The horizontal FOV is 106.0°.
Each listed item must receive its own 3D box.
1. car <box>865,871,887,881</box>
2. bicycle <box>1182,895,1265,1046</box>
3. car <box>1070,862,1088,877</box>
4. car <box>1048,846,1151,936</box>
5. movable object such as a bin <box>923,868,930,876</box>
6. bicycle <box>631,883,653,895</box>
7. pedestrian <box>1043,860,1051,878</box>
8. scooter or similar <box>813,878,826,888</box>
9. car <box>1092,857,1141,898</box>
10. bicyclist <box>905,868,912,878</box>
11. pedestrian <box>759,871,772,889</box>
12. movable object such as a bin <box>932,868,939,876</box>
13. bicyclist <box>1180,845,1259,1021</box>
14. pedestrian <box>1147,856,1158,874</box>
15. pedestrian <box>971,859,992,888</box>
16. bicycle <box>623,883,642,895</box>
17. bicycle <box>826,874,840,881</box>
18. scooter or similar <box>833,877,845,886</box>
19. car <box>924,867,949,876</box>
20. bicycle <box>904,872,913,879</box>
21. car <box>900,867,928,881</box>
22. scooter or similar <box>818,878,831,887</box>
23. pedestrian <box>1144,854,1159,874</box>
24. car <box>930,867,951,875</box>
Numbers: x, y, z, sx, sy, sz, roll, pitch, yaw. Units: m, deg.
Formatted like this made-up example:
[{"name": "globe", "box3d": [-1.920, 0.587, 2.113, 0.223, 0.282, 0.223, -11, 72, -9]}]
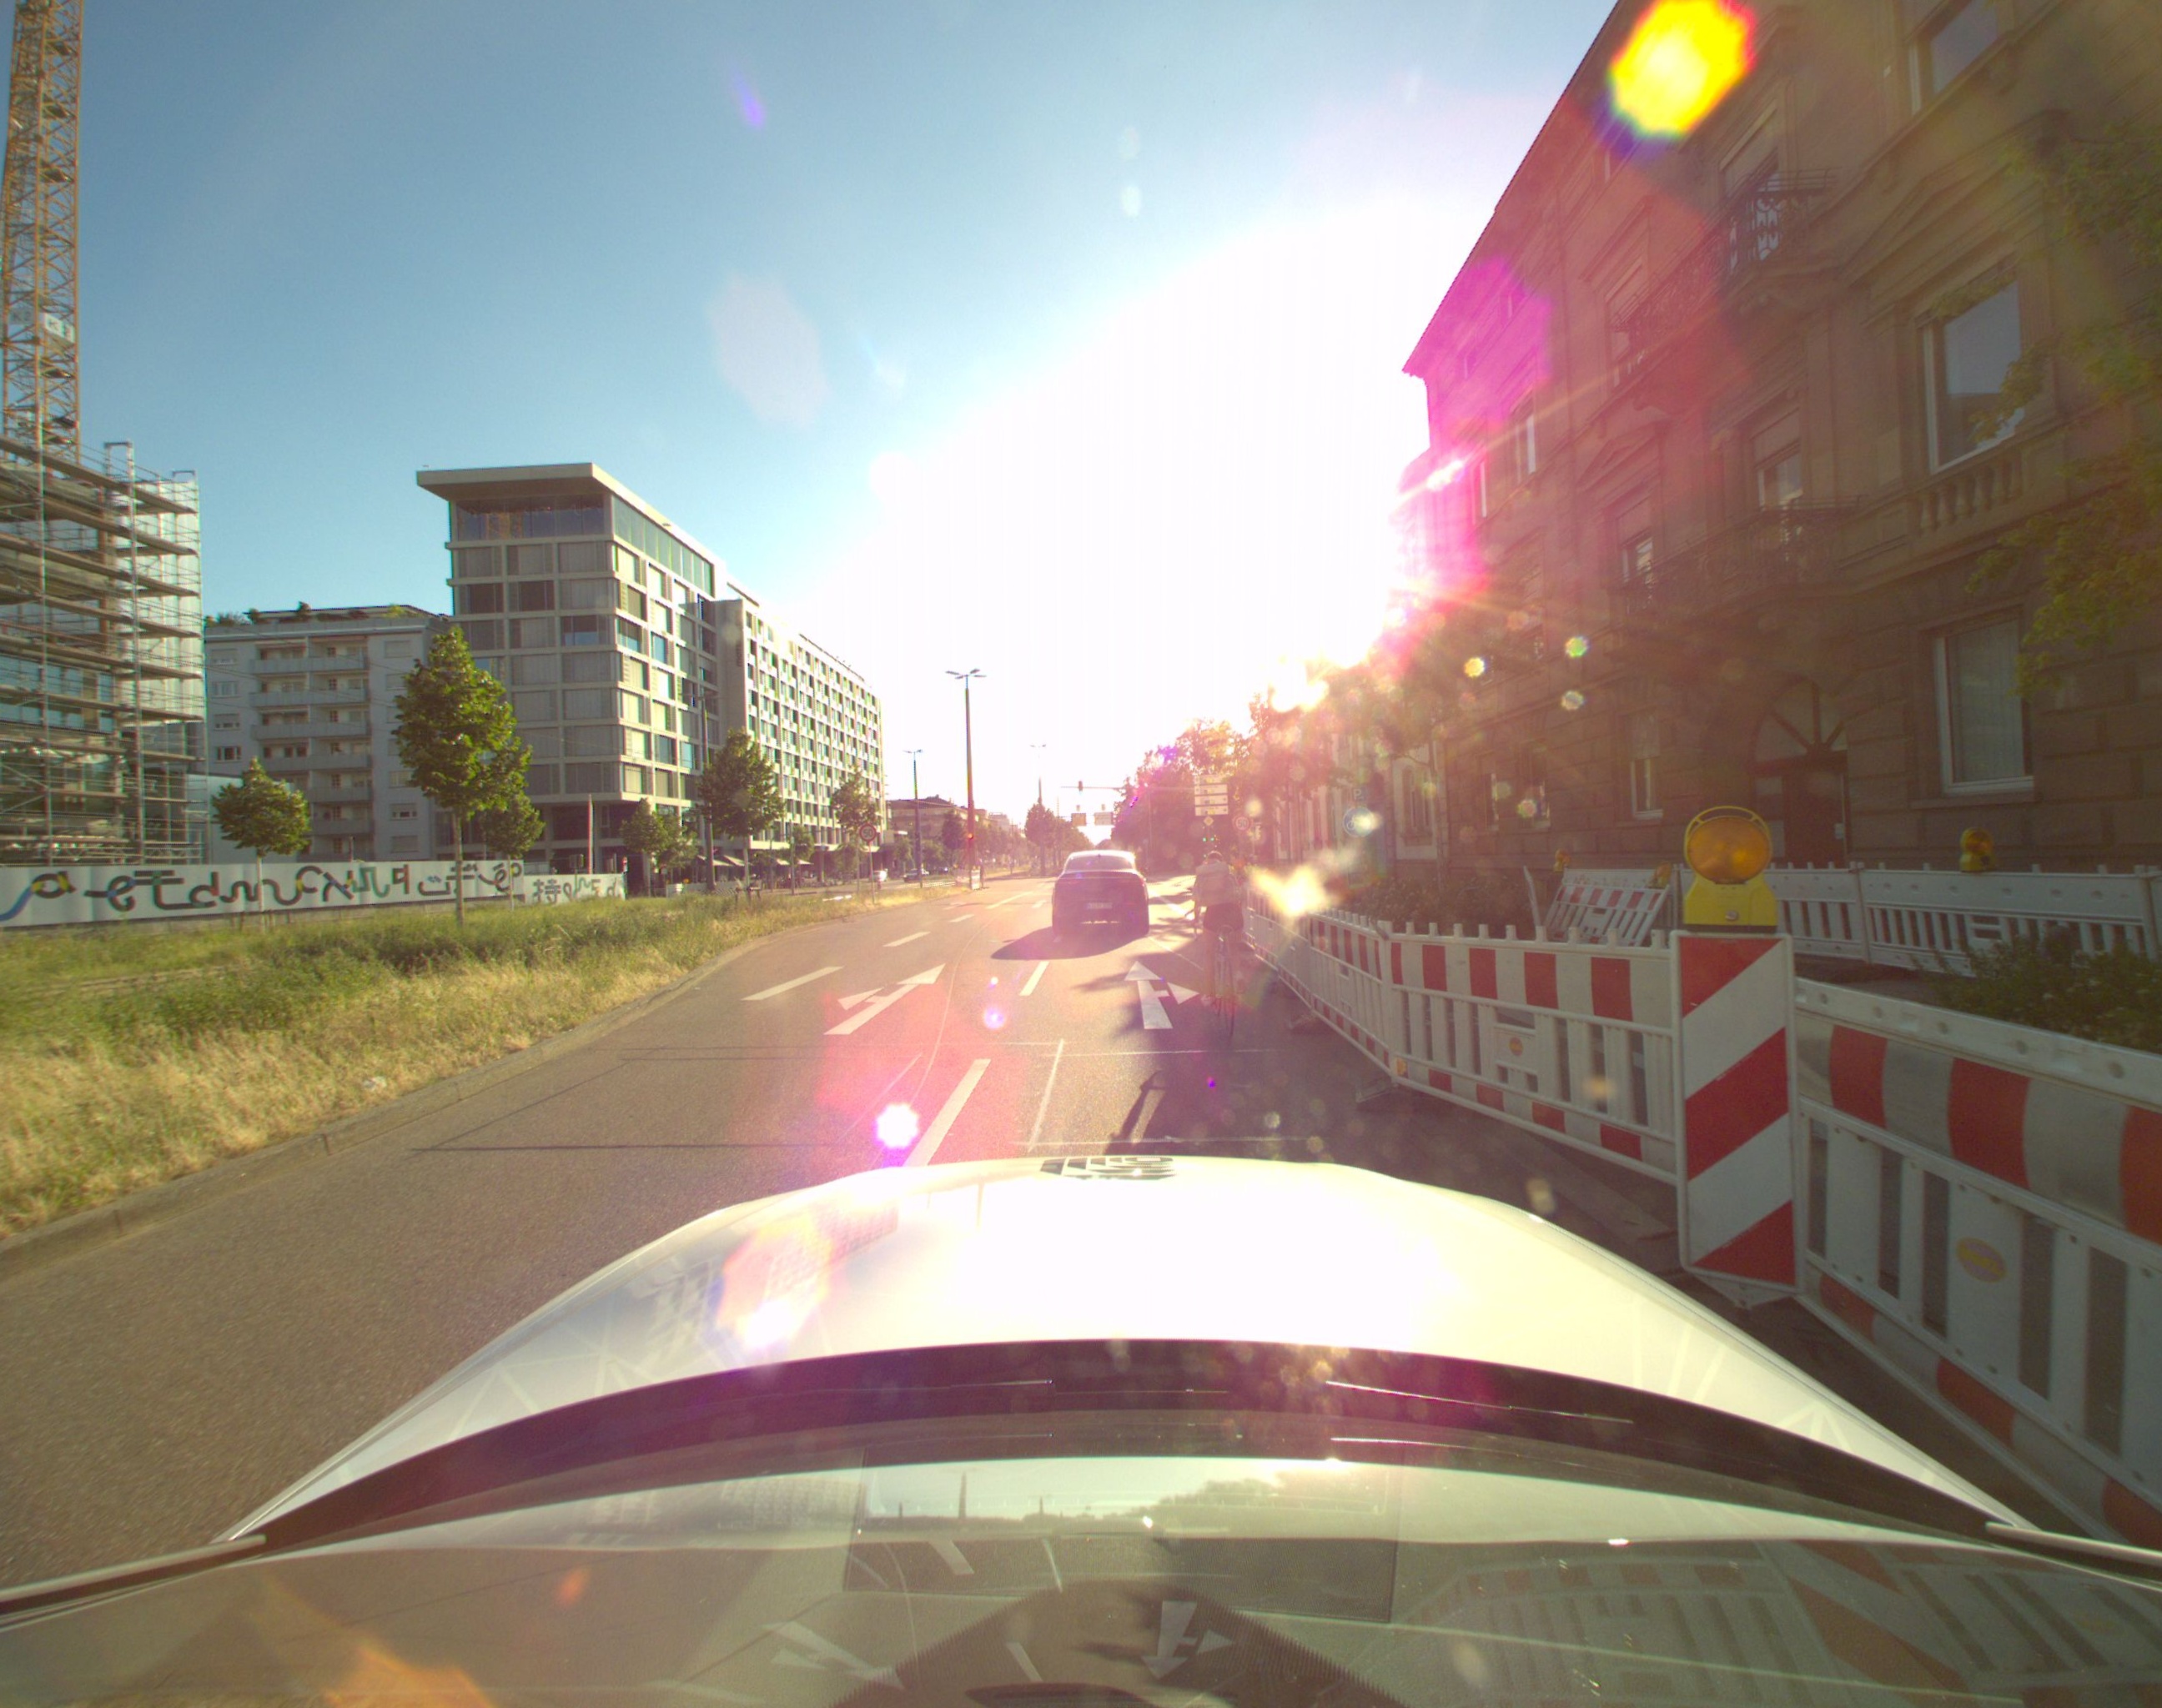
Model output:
[{"name": "car", "box3d": [-27.785, 2.995, 110.443, 1.750, 1.328, 4.002, -1, 0, 2]}, {"name": "bicycle", "box3d": [1.255, 0.977, 7.428, 0.518, 1.097, 1.845, -2, 0, 4]}, {"name": "car", "box3d": [-0.222, 1.690, 92.411, 1.879, 1.580, 4.001, -1, 0, 1]}, {"name": "car", "box3d": [0.493, 0.717, 18.060, 1.985, 1.734, 4.004, -1, 0, 3]}, {"name": "movable object such as a bin", "box3d": [-27.315, 3.256, 144.341, 0.851, 1.358, 0.944, -3, -1, 16]}, {"name": "bicycle", "box3d": [-37.614, 2.962, 69.862, 0.616, 0.936, 2.217, -2, -1, 2]}, {"name": "pedestrian", "box3d": [-3.224, 1.400, 78.043, 0.595, 1.699, 0.715, -2, -1, 7]}, {"name": "scooter or similar", "box3d": [-28.606, 3.168, 89.067, 1.238, 1.019, 0.511, -3, -1, 2]}, {"name": "car", "box3d": [1.445, 0.937, 33.756, 1.890, 1.527, 4.060, -2, 0, 1]}, {"name": "bicyclist", "box3d": [-24.979, 2.767, 117.930, 0.622, 1.465, 0.851, -2, -1, 3]}, {"name": "pedestrian", "box3d": [-32.046, 2.659, 82.820, 0.863, 1.721, 0.806, -2, -1, 11]}, {"name": "movable object such as a bin", "box3d": [-25.920, 3.236, 144.627, 0.851, 1.280, 0.944, -3, -1, 16]}, {"name": "bicyclist", "box3d": [1.255, 0.675, 7.517, 0.550, 1.491, 1.082, -2, 0, 3]}, {"name": "pedestrian", "box3d": [6.681, 1.045, 76.474, 0.766, 1.636, 0.768, -4, -1, -8]}, {"name": "pedestrian", "box3d": [-5.814, 1.135, 47.524, 0.917, 1.649, 0.768, -2, -1, 14]}, {"name": "bicycle", "box3d": [-38.476, 3.029, 69.918, 0.533, 0.936, 1.901, -2, -1, 2]}, {"name": "bicycle", "box3d": [-34.912, 3.244, 114.716, 1.801, 0.905, 0.511, -2, -1, -5]}, {"name": "scooter or similar", "box3d": [-28.310, 3.190, 95.135, 1.238, 1.019, 0.435, -3, -1, 2]}, {"name": "car", "box3d": [-26.595, 3.208, 149.954, 4.116, 1.601, 1.730, 1, -1, -39]}, {"name": "bicycle", "box3d": [-24.973, 3.116, 117.907, 0.622, 1.067, 2.079, -2, -1, 3]}, {"name": "car", "box3d": [-18.254, 2.188, 88.999, 1.884, 1.343, 4.852, -2, 0, 2]}, {"name": "scooter or similar", "box3d": [-28.571, 3.159, 90.594, 1.238, 1.019, 0.435, -3, -1, 2]}, {"name": "pedestrian", "box3d": [6.692, 0.958, 77.393, 0.863, 1.802, 0.898, -4, -1, -33]}, {"name": "car", "box3d": [-26.495, 3.256, 153.458, 3.643, 1.523, 1.602, 0, -1, -39]}]
